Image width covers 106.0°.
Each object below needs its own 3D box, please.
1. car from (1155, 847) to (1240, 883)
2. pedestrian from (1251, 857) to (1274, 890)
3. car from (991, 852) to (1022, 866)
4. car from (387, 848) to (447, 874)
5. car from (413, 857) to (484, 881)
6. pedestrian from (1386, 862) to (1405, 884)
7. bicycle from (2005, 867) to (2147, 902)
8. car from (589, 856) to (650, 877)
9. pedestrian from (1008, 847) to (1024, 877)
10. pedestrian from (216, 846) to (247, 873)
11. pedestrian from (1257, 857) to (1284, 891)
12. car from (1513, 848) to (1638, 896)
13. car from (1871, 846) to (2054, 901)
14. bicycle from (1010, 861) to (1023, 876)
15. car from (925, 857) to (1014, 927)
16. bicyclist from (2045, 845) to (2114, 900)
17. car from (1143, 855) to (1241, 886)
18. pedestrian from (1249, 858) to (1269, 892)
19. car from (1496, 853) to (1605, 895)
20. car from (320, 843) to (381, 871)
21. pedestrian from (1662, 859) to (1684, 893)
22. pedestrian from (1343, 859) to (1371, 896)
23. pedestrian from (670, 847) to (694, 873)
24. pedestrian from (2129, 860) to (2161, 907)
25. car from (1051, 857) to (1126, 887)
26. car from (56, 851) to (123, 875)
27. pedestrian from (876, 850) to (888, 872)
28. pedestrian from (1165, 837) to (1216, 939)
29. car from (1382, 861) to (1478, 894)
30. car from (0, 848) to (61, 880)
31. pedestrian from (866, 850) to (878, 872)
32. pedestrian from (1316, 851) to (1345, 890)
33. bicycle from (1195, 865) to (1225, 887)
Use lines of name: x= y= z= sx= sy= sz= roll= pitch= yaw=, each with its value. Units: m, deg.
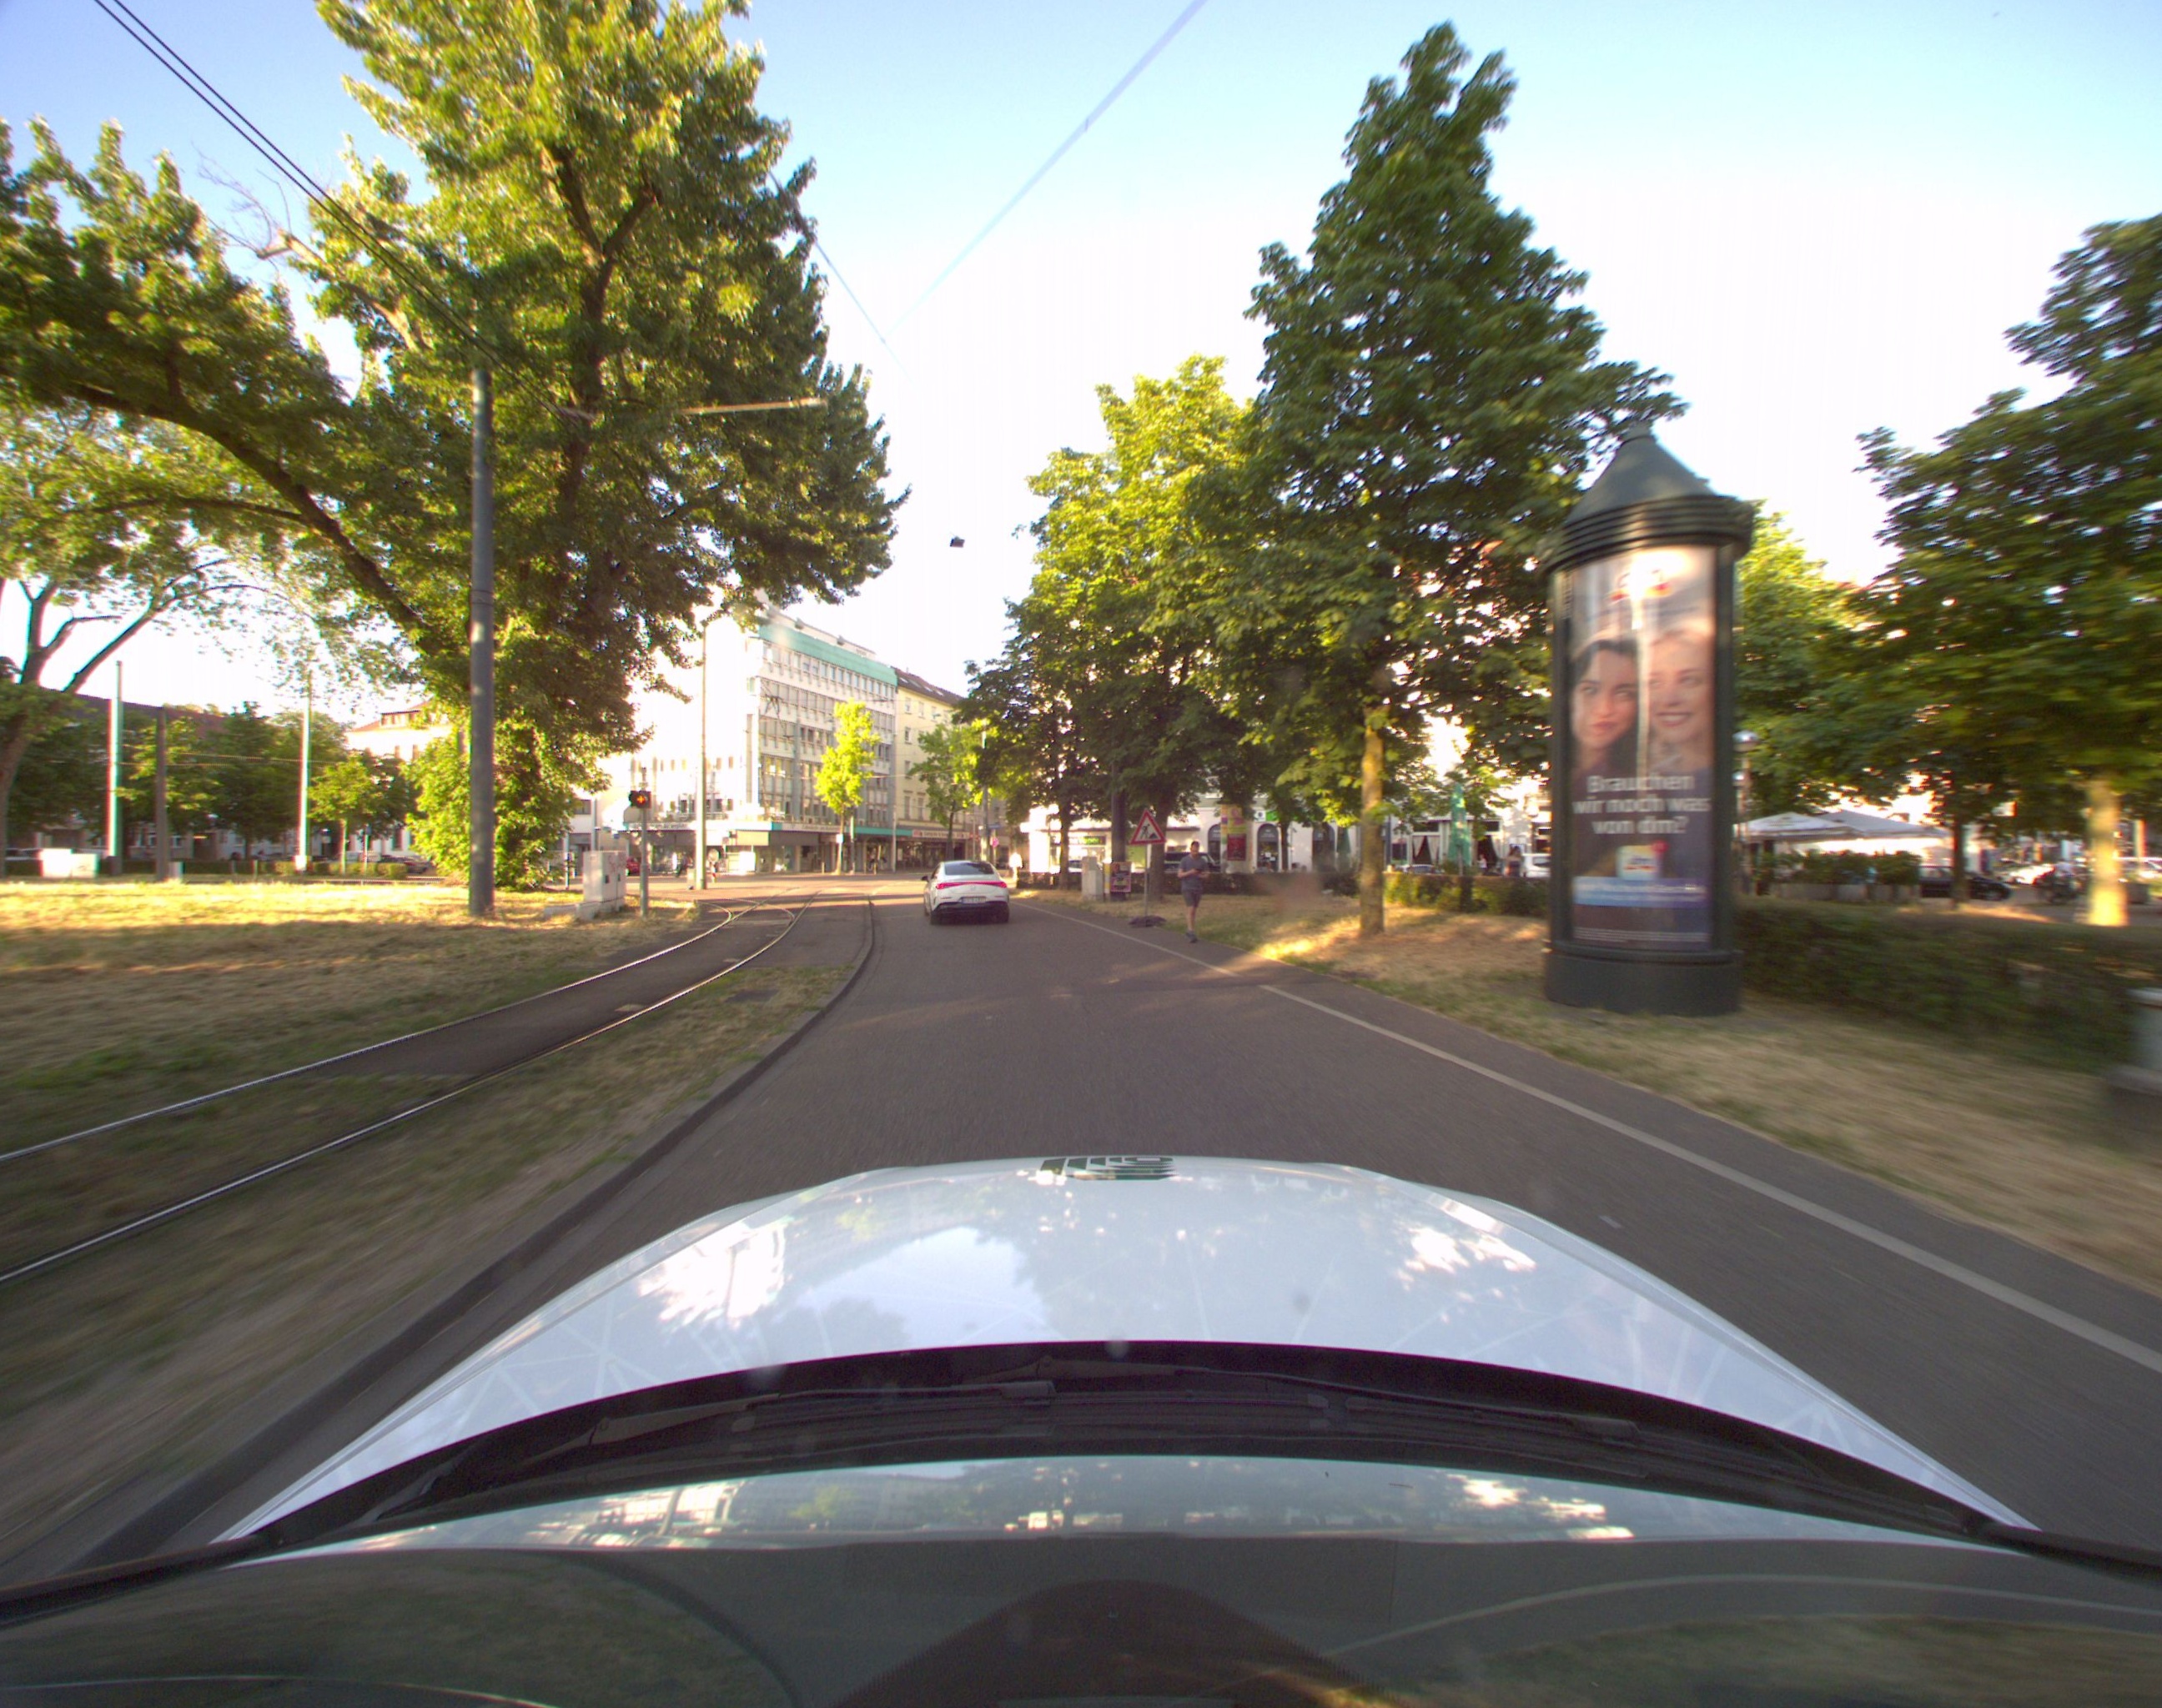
car: x=6.657 y=0.610 z=46.332 sx=4.461 sy=1.963 sz=2.033 roll=0 pitch=0 yaw=18
pedestrian: x=6.982 y=0.731 z=31.333 sx=0.772 sy=1.243 sz=0.993 roll=1 pitch=0 yaw=16
car: x=-8.661 y=0.601 z=95.132 sx=1.945 sy=1.640 sz=4.020 roll=0 pitch=0 yaw=20
car: x=-54.520 y=0.571 z=66.882 sx=3.953 sy=2.014 sz=2.010 roll=0 pitch=-1 yaw=20
car: x=-45.908 y=1.102 z=59.175 sx=3.958 sy=1.684 sz=2.007 roll=0 pitch=-1 yaw=14
pedestrian: x=17.924 y=1.064 z=46.424 sx=1.015 sy=1.245 sz=0.690 roll=0 pitch=-1 yaw=19
bicycle: x=35.622 y=1.077 z=29.236 sx=3.158 sy=1.131 sz=0.991 roll=1 pitch=0 yaw=22
car: x=-34.066 y=0.882 z=60.109 sx=3.950 sy=1.485 sz=2.039 roll=0 pitch=-1 yaw=25
pedestrian: x=-4.296 y=0.532 z=54.052 sx=0.835 sy=2.014 sz=0.849 roll=0 pitch=-1 yaw=14
pedestrian: x=-64.640 y=0.403 z=61.955 sx=1.448 sy=2.014 sz=1.125 roll=0 pitch=-1 yaw=20
pedestrian: x=7.628 y=0.811 z=32.850 sx=0.942 sy=1.284 sz=0.665 roll=4 pitch=0 yaw=11
car: x=21.671 y=0.768 z=35.900 sx=4.385 sy=2.014 sz=2.010 roll=0 pitch=-1 yaw=20
car: x=34.018 y=0.708 z=31.592 sx=4.385 sy=2.014 sz=2.010 roll=0 pitch=-1 yaw=20
bicycle: x=-4.755 y=1.067 z=60.083 sx=0.351 sy=1.076 sz=1.706 roll=0 pitch=-1 yaw=16
car: x=-2.825 y=0.828 z=19.899 sx=1.869 sy=1.469 sz=4.026 roll=-1 pitch=0 yaw=-12
bicyclist: x=35.771 y=0.646 z=29.196 sx=1.233 sy=1.916 sz=0.991 roll=1 pitch=0 yaw=22
car: x=5.623 y=0.805 z=41.195 sx=4.620 sy=1.514 sz=1.747 roll=0 pitch=0 yaw=18
pedestrian: x=6.556 y=0.775 z=30.059 sx=0.561 sy=1.244 sz=0.616 roll=-1 pitch=-1 yaw=29
car: x=23.470 y=0.967 z=40.902 sx=4.461 sy=1.963 sz=2.033 roll=1 pitch=-1 yaw=18
car: x=-55.890 y=0.223 z=62.348 sx=3.951 sy=2.014 sz=2.011 roll=0 pitch=-1 yaw=24
pedestrian: x=19.589 y=0.718 z=26.948 sx=0.550 sy=1.117 sz=0.497 roll=0 pitch=-1 yaw=39
pedestrian: x=9.799 y=0.846 z=28.883 sx=0.655 sy=1.242 sz=0.957 roll=5 pitch=0 yaw=32
pedestrian: x=-27.108 y=0.417 z=55.374 sx=0.896 sy=1.703 sz=1.170 roll=-1 pitch=-1 yaw=36
pedestrian: x=29.114 y=0.784 z=21.549 sx=1.033 sy=1.250 sz=1.444 roll=1 pitch=0 yaw=-19
car: x=0.413 y=0.922 z=43.043 sx=3.537 sy=1.514 sz=1.747 roll=0 pitch=0 yaw=18
car: x=-83.788 y=0.730 z=68.839 sx=3.958 sy=2.014 sz=2.007 roll=0 pitch=-1 yaw=14
pedestrian: x=-18.180 y=0.637 z=74.315 sx=0.790 sy=2.014 sz=0.738 roll=0 pitch=-1 yaw=20
pedestrian: x=1.917 y=0.586 z=14.325 sx=0.646 sy=1.743 sz=0.582 roll=1 pitch=0 yaw=-35
car: x=18.122 y=1.185 z=42.481 sx=4.461 sy=1.617 sz=2.033 roll=1 pitch=-1 yaw=18
car: x=-68.867 y=0.626 z=52.160 sx=1.987 sy=2.014 sz=4.000 roll=0 pitch=0 yaw=0
pedestrian: x=-19.150 y=0.671 z=74.573 sx=0.790 sy=2.014 sz=0.738 roll=0 pitch=-1 yaw=20
pedestrian: x=8.858 y=0.588 z=28.937 sx=0.722 sy=1.356 sz=1.022 roll=-1 pitch=-1 yaw=32
bicycle: x=5.555 y=0.938 z=35.036 sx=0.548 sy=0.929 sz=1.539 roll=0 pitch=-1 yaw=42
